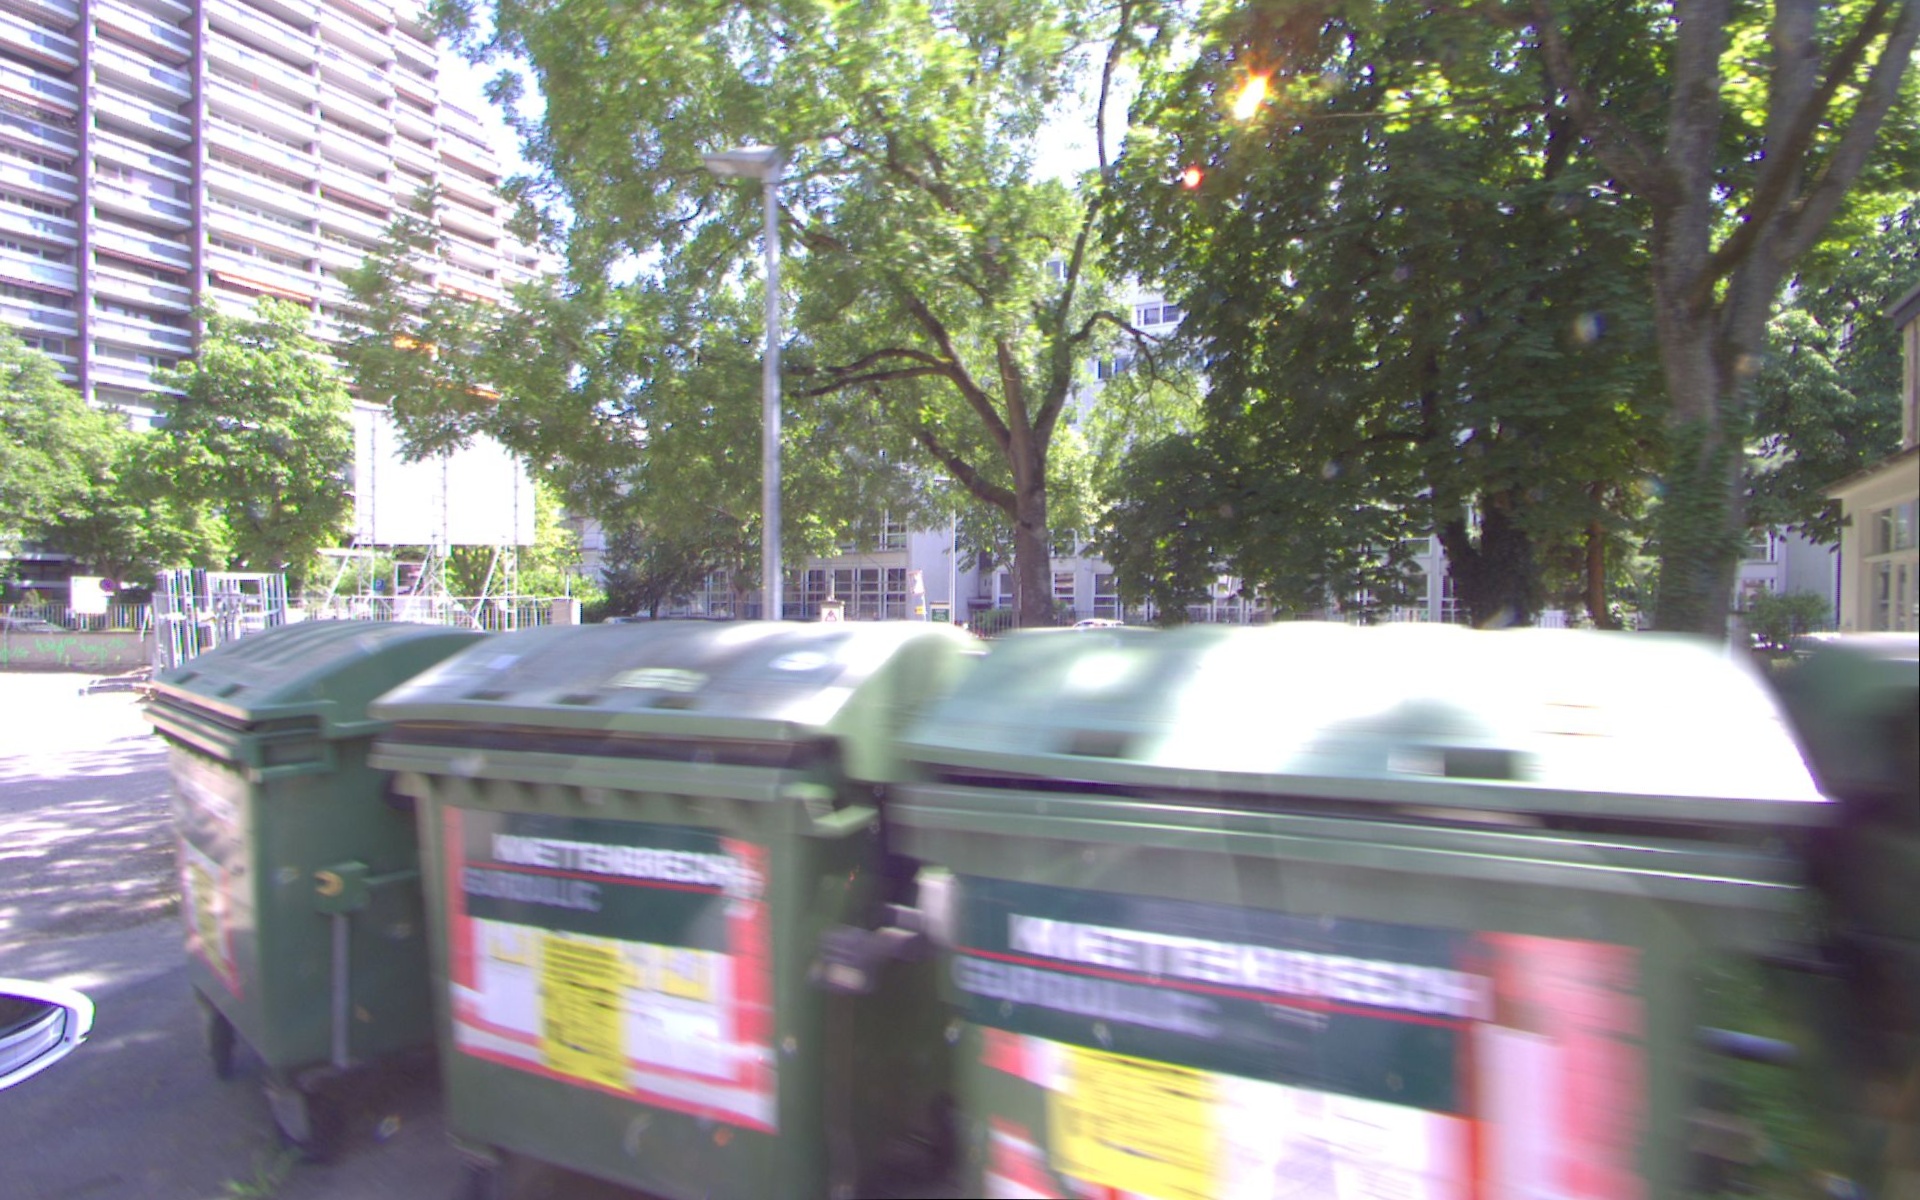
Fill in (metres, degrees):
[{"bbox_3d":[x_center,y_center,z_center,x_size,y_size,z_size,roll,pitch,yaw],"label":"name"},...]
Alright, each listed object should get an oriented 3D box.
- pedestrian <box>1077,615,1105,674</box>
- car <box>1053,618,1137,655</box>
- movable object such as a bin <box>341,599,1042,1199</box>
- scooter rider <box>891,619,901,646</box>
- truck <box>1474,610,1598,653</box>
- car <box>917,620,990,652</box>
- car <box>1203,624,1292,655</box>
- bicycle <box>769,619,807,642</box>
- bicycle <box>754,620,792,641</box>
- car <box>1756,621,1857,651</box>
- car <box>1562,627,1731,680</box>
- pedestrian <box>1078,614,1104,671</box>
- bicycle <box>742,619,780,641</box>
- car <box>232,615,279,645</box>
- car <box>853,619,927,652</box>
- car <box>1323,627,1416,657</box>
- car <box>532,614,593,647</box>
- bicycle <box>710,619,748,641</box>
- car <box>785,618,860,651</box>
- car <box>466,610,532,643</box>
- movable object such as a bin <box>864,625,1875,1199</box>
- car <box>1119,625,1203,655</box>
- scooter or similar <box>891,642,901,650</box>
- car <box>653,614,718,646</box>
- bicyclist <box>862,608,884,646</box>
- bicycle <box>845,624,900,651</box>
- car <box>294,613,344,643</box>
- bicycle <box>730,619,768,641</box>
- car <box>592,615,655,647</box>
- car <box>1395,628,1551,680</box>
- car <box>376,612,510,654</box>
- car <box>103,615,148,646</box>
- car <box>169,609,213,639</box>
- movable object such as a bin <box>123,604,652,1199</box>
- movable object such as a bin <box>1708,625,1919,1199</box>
[{"bbox_3d":[3.616,1.241,27.706,0.718,1.609,0.741,0,-2,3],"label":"pedestrian"},{"bbox_3d":[6.262,1.682,46.754,3.706,1.641,1.597,-1,-1,45],"label":"car"},{"bbox_3d":[-0.597,0.765,2.571,1.290,1.489,1.179,-1,-1,25],"label":"movable object such as a bin"},{"bbox_3d":[-2.767,1.408,43.273,0.409,1.149,0.359,0,0,-2],"label":"scooter rider"},{"bbox_3d":[26.046,1.436,45.380,1.640,1.856,4.598,1,-2,-45],"label":"truck"},{"bbox_3d":[-0.330,1.684,47.328,1.594,1.455,3.573,1,-1,-39],"label":"car"},{"bbox_3d":[13.151,1.792,45.943,1.594,1.322,3.715,1,-1,-38],"label":"car"},{"bbox_3d":[-9.338,1.641,54.554,0.770,1.203,2.424,0,-1,25],"label":"bicycle"},{"bbox_3d":[-10.270,1.662,55.070,0.770,1.173,2.377,0,-1,25],"label":"bicycle"},{"bbox_3d":[38.294,1.616,45.348,1.480,1.308,3.315,1,-1,-38],"label":"car"},{"bbox_3d":[20.597,1.593,30.169,3.860,1.483,1.706,0,0,2],"label":"car"},{"bbox_3d":[3.739,1.210,28.661,0.718,1.609,0.741,0,-2,5],"label":"pedestrian"},{"bbox_3d":[-11.006,1.656,55.450,0.770,1.173,2.377,0,-1,25],"label":"bicycle"},{"bbox_3d":[-34.015,1.429,48.318,1.620,1.405,3.647,1,-1,-39],"label":"car"},{"bbox_3d":[-3.328,1.658,47.239,1.596,1.464,3.643,1,-1,-43],"label":"car"},{"bbox_3d":[19.009,1.909,46.599,3.704,1.308,1.598,-1,-1,43],"label":"car"},{"bbox_3d":[-18.860,1.418,47.459,1.621,1.483,3.646,1,-1,-41],"label":"car"},{"bbox_3d":[-12.976,1.678,56.412,0.770,1.173,2.377,0,-1,25],"label":"bicycle"},{"bbox_3d":[-6.558,1.600,47.581,3.640,1.483,1.630,-1,-1,44],"label":"car"},{"bbox_3d":[-21.594,1.243,46.856,3.640,1.483,1.623,-1,-1,45],"label":"car"},{"bbox_3d":[0.675,0.795,1.905,1.291,1.489,1.179,-1,-1,26],"label":"movable object such as a bin"},{"bbox_3d":[9.327,1.828,46.640,1.594,1.297,3.714,1,-1,-39],"label":"car"},{"bbox_3d":[-2.771,1.978,43.269,0.438,0.363,0.365,0,-1,-2],"label":"scooter or similar"},{"bbox_3d":[-13.077,1.400,47.573,1.621,1.483,3.646,1,-1,-41],"label":"car"},{"bbox_3d":[-3.814,1.187,43.999,0.883,1.687,0.858,0,0,-2],"label":"bicyclist"},{"bbox_3d":[-3.830,1.633,43.997,2.392,1.167,0.786,0,0,-2],"label":"bicycle"},{"bbox_3d":[-30.698,1.319,47.935,1.620,1.405,3.647,1,-1,-39],"label":"car"},{"bbox_3d":[-11.734,1.672,55.826,0.770,1.173,2.377,0,-1,25],"label":"bicycle"},{"bbox_3d":[-16.048,1.458,47.725,1.621,1.483,3.646,1,-1,-41],"label":"car"},{"bbox_3d":[15.582,1.613,30.566,3.860,1.483,1.706,0,0,2],"label":"car"},{"bbox_3d":[-19.152,1.212,37.206,4.063,1.483,1.765,0,0,2],"label":"car"},{"bbox_3d":[-39.766,1.437,47.764,1.620,1.405,3.647,1,-1,-39],"label":"car"},{"bbox_3d":[-37.335,1.135,48.591,1.620,1.405,3.647,1,-1,-39],"label":"car"},{"bbox_3d":[-1.898,0.779,3.322,1.318,1.489,1.173,-1,-1,42],"label":"movable object such as a bin"},{"bbox_3d":[1.798,0.772,1.123,1.290,1.489,1.179,-1,-1,24],"label":"movable object such as a bin"}]
